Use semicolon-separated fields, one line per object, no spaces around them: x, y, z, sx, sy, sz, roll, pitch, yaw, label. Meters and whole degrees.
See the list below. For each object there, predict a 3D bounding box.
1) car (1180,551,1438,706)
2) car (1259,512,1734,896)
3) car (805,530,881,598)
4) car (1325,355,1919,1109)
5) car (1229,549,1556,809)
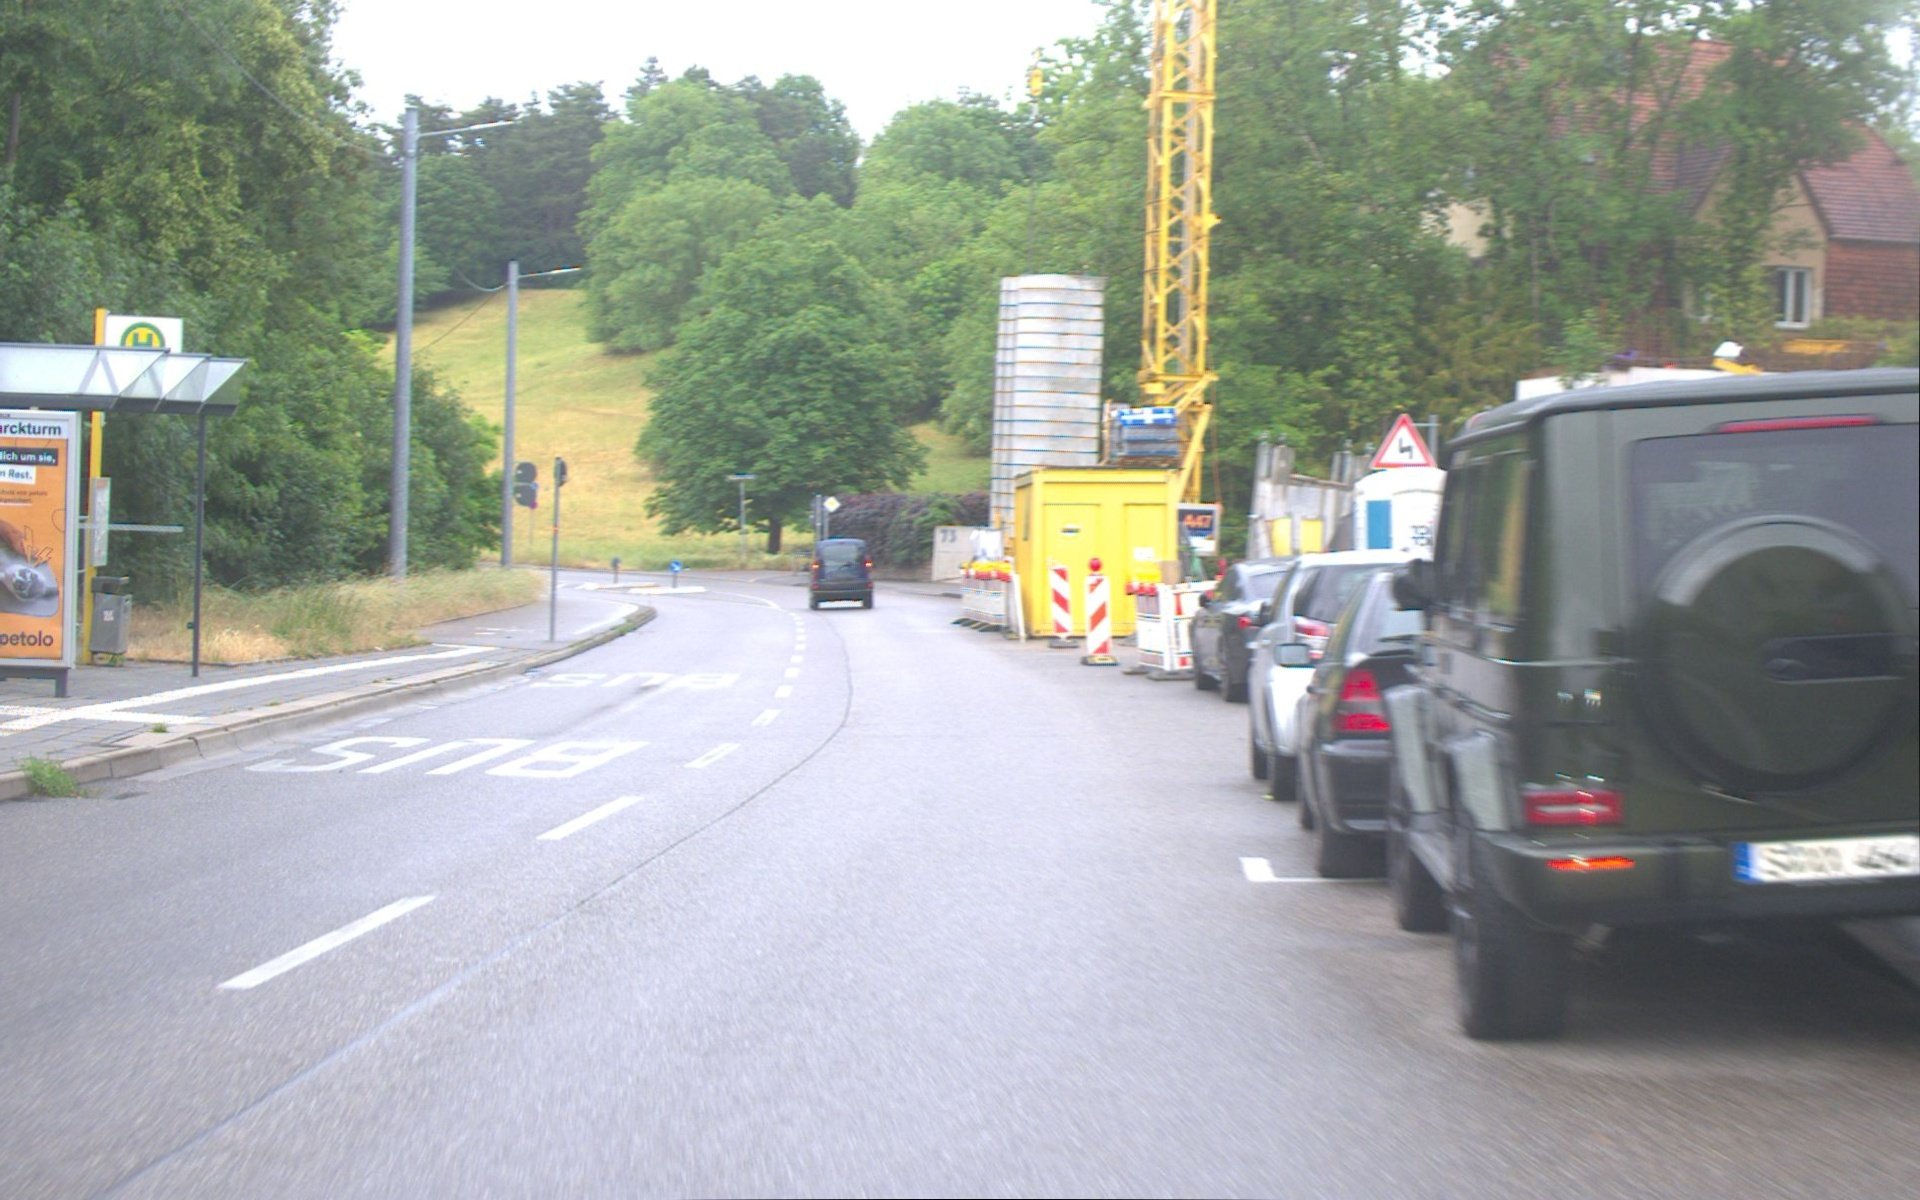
3.493;0.240;35.328;1.931;1.417;4.838;1;1;-3;car
2.463;0.422;16.782;1.932;1.590;4.394;-1;1;5;car
-3.122;-0.950;91.249;1.931;1.745;4.000;0;0;-3;car
2.457;0.314;11.702;1.993;2.007;4.956;-1;1;2;car
2.557;0.418;20.970;1.673;1.452;3.386;0;1;2;car
